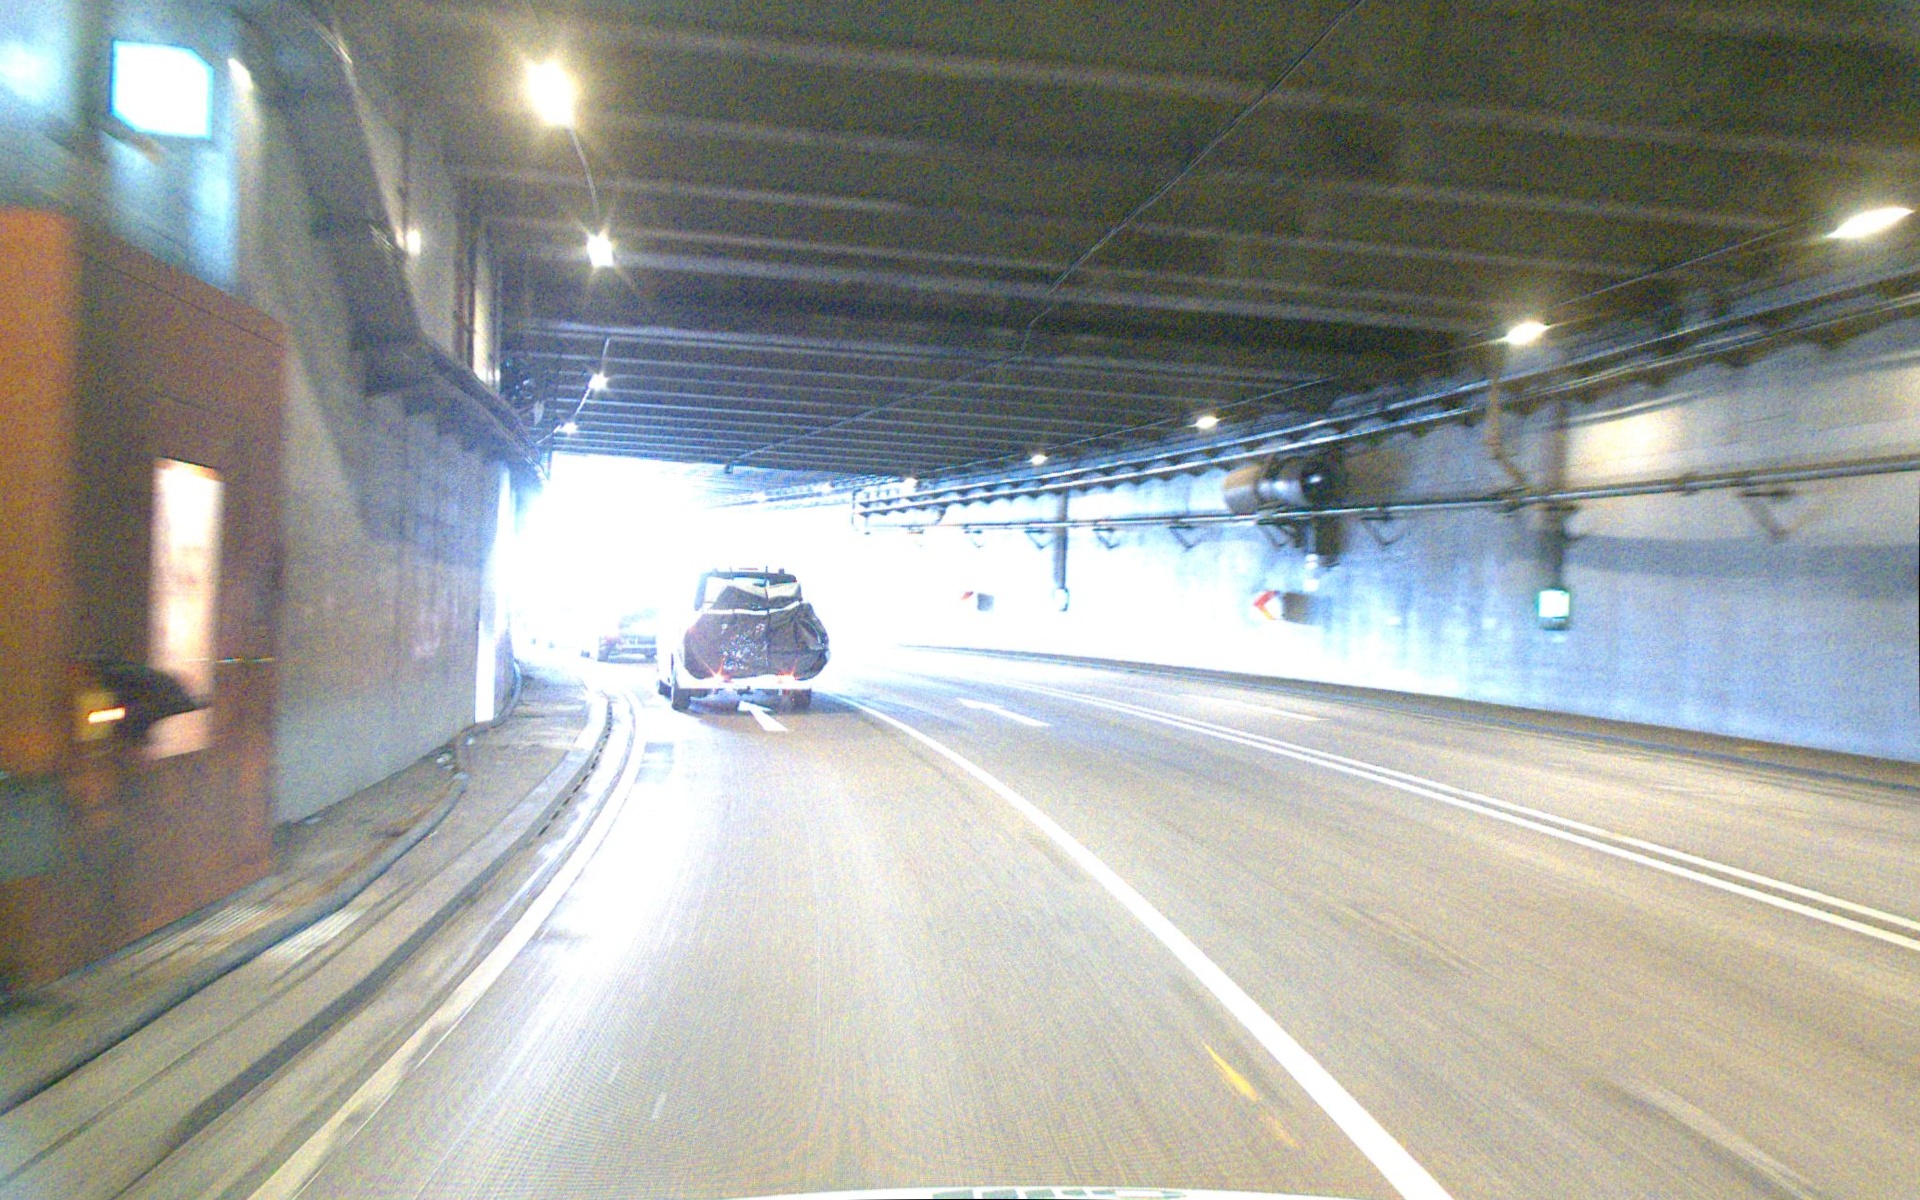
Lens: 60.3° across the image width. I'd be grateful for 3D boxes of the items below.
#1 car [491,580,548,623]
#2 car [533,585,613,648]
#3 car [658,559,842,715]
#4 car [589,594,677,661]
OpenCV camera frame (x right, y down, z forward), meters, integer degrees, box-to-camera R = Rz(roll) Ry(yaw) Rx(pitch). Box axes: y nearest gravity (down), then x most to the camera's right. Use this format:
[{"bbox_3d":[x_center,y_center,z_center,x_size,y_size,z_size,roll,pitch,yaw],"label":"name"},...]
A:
[{"bbox_3d":[-17.603,0.046,66.025,1.582,1.659,3.329,2,0,-25],"label":"car"},{"bbox_3d":[-10.699,0.431,45.579,1.581,1.622,3.332,2,0,-23],"label":"car"},{"bbox_3d":[-3.007,0.430,22.696,1.959,1.879,5.283,0,0,-13],"label":"car"},{"bbox_3d":[-7.263,0.575,36.594,1.578,1.420,3.261,0,0,-17],"label":"car"}]
